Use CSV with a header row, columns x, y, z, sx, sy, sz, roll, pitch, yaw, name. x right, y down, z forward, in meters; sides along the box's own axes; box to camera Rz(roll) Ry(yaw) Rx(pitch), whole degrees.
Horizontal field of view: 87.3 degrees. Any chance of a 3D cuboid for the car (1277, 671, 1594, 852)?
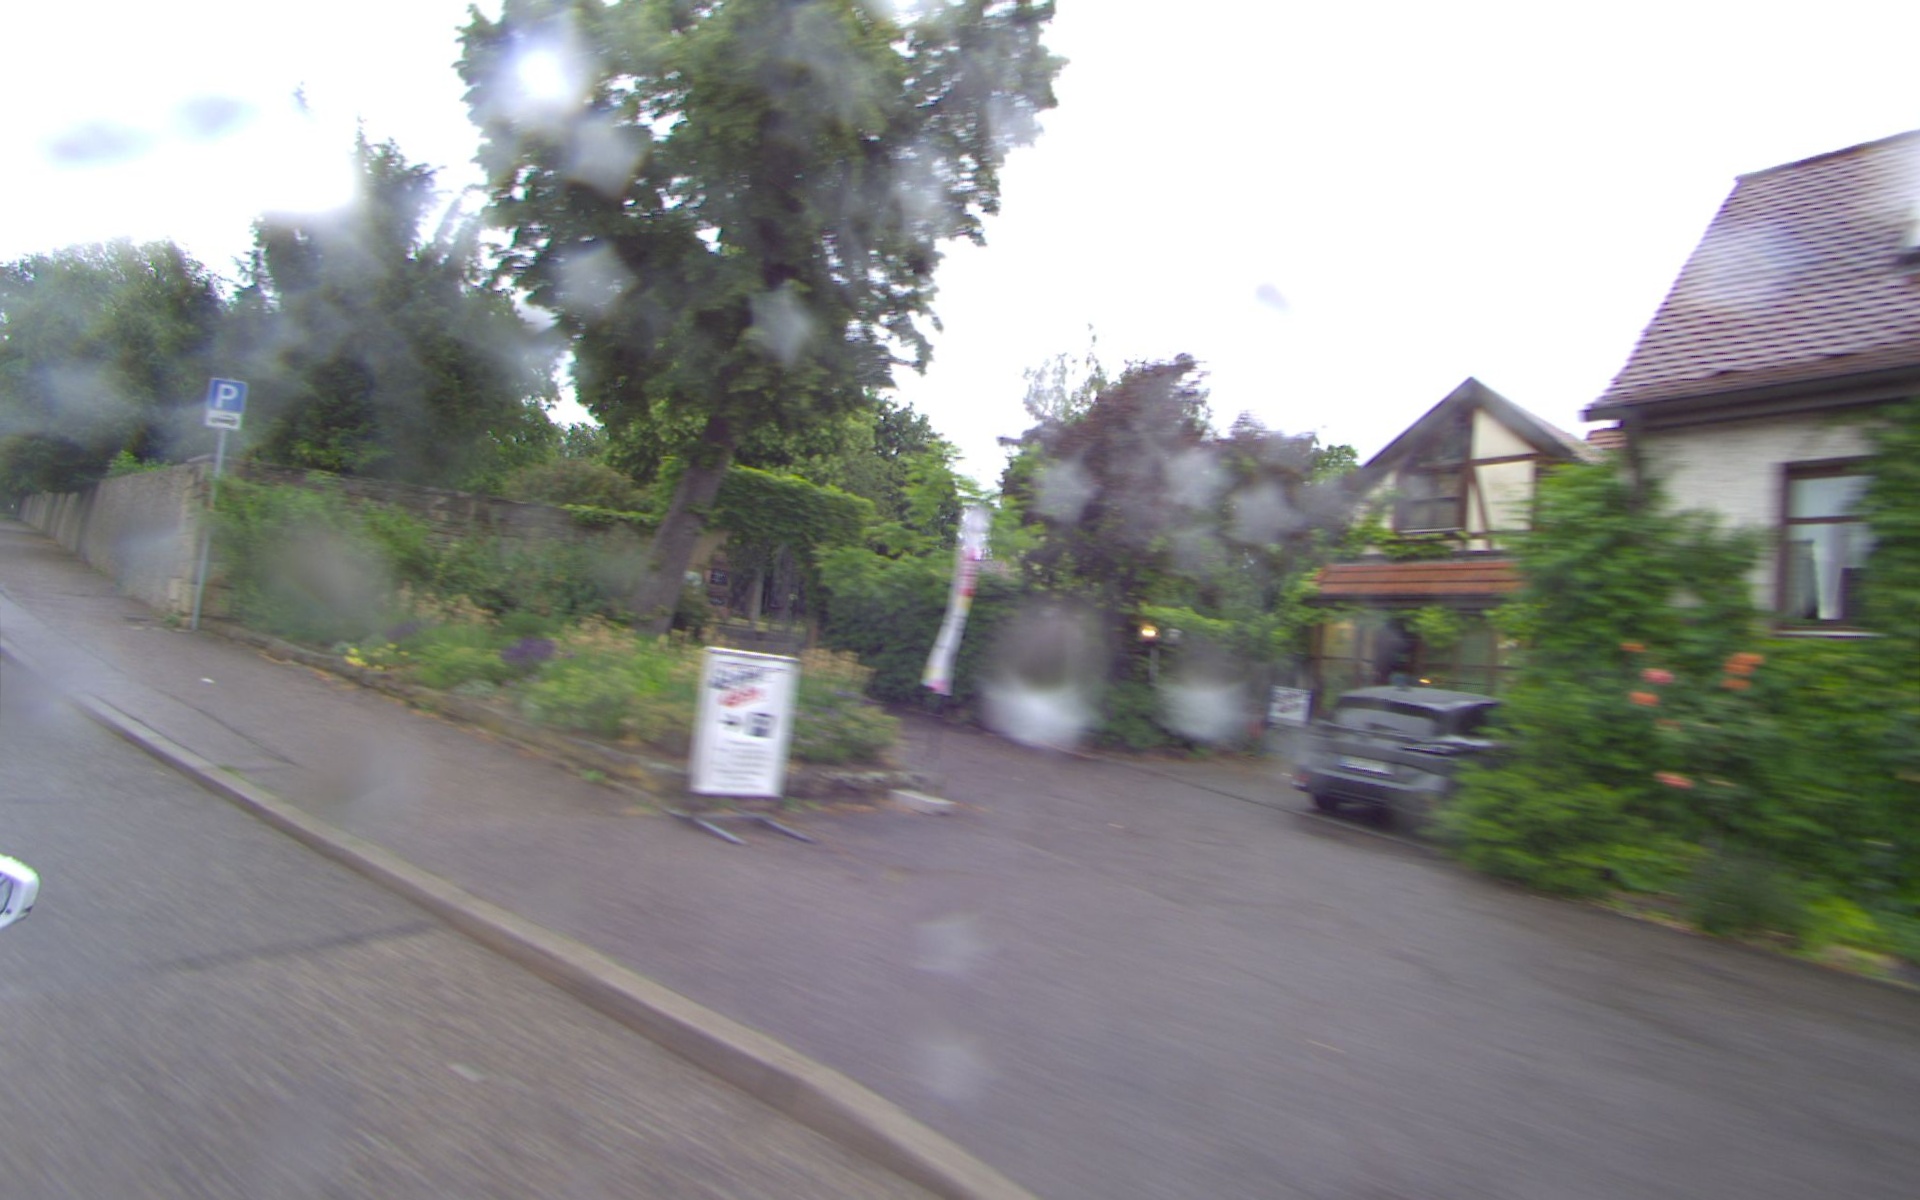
x,y,z,sx,sy,sz,roll,pitch,yaw,name
5.469,1.737,11.324,4.082,1.477,1.656,7,0,-42,car
